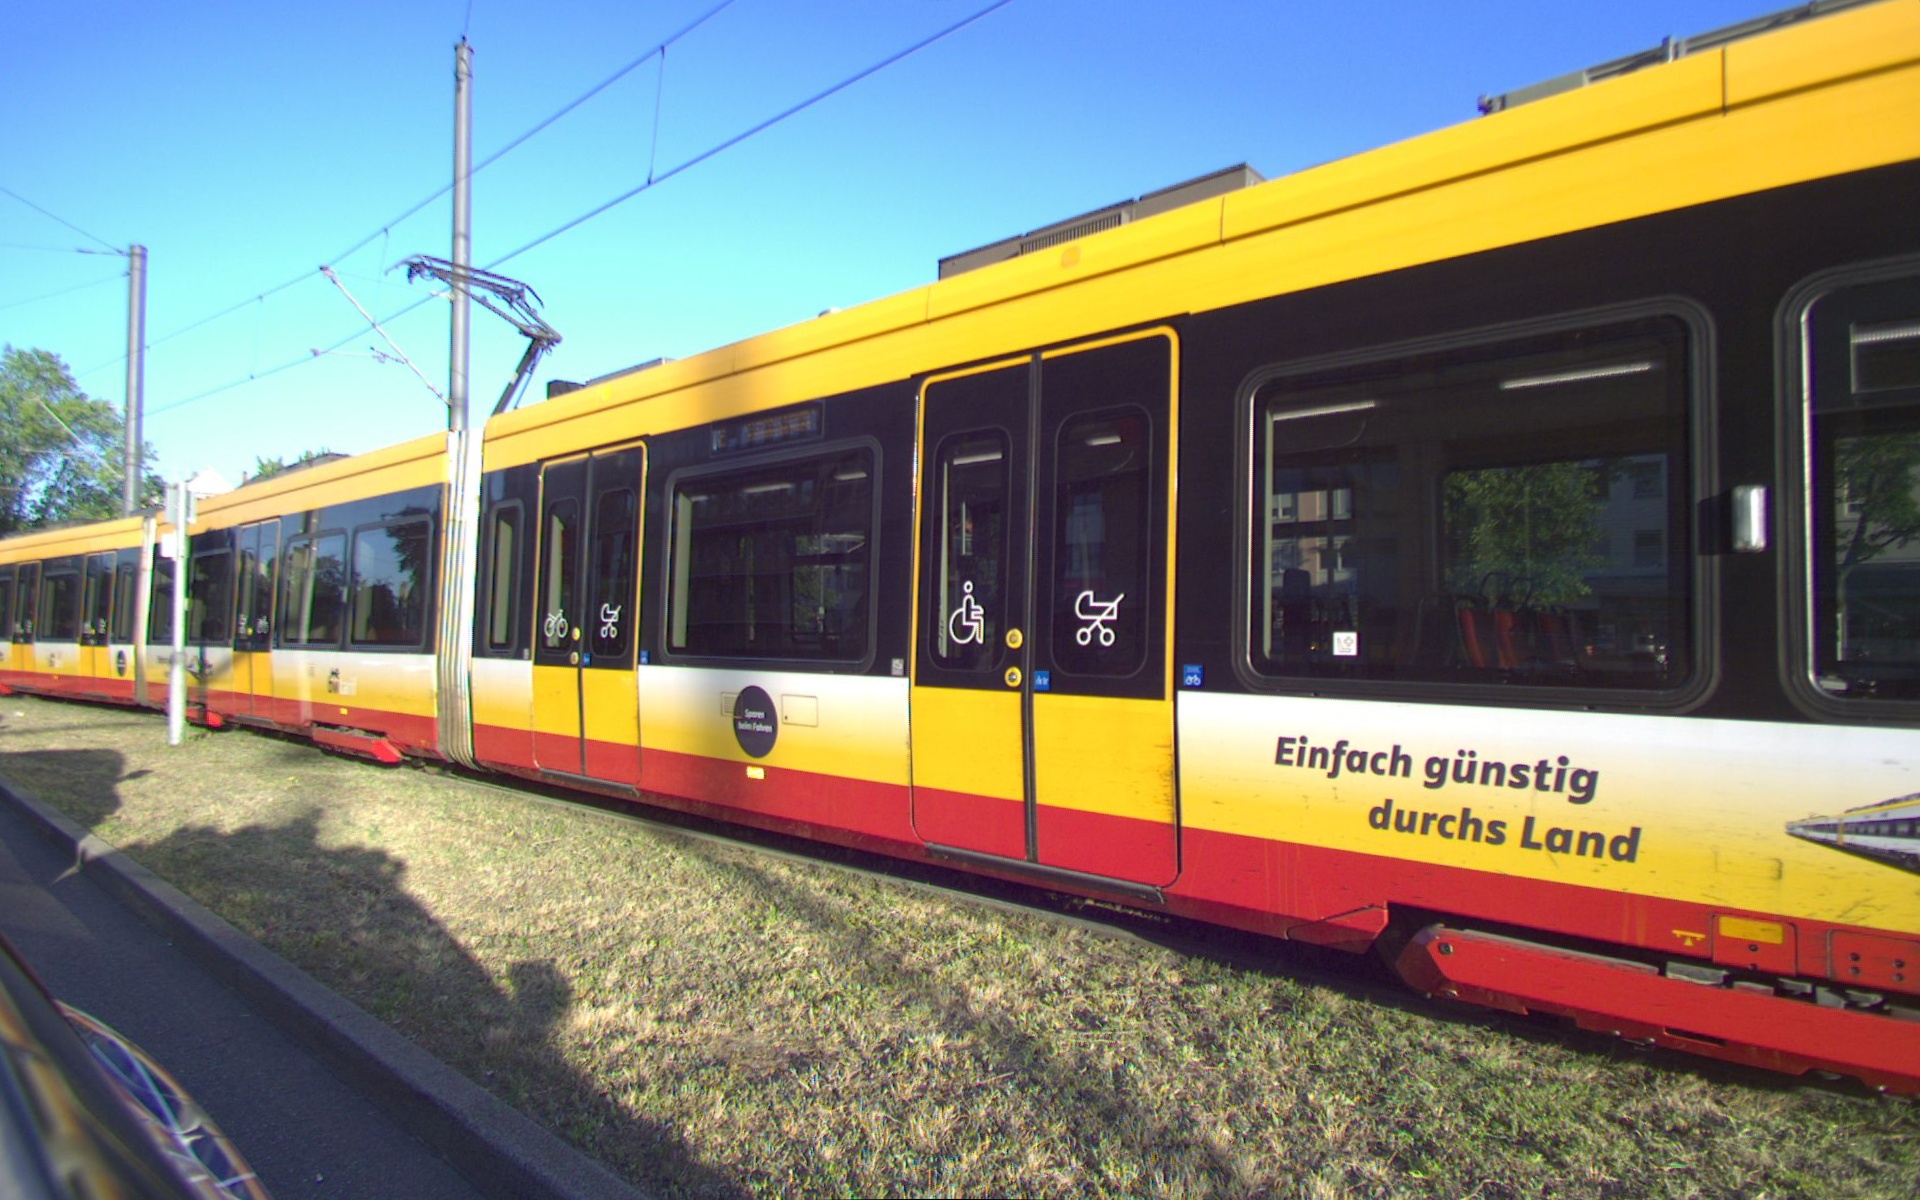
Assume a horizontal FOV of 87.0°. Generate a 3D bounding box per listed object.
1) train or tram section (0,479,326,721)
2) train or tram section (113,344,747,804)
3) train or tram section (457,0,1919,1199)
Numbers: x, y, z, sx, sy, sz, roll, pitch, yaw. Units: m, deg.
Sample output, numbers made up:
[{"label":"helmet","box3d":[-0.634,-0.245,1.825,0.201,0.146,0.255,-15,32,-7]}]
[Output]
[{"label":"train or tram section","box3d":[-17.212,0.128,20.402,12.160,3.767,2.881,-1,-2,34]},{"label":"train or tram section","box3d":[-7.796,-0.090,13.261,12.171,3.767,2.849,-1,-2,40]},{"label":"train or tram section","box3d":[1.663,-0.286,5.174,13.214,3.767,2.878,-1,-2,42]}]
